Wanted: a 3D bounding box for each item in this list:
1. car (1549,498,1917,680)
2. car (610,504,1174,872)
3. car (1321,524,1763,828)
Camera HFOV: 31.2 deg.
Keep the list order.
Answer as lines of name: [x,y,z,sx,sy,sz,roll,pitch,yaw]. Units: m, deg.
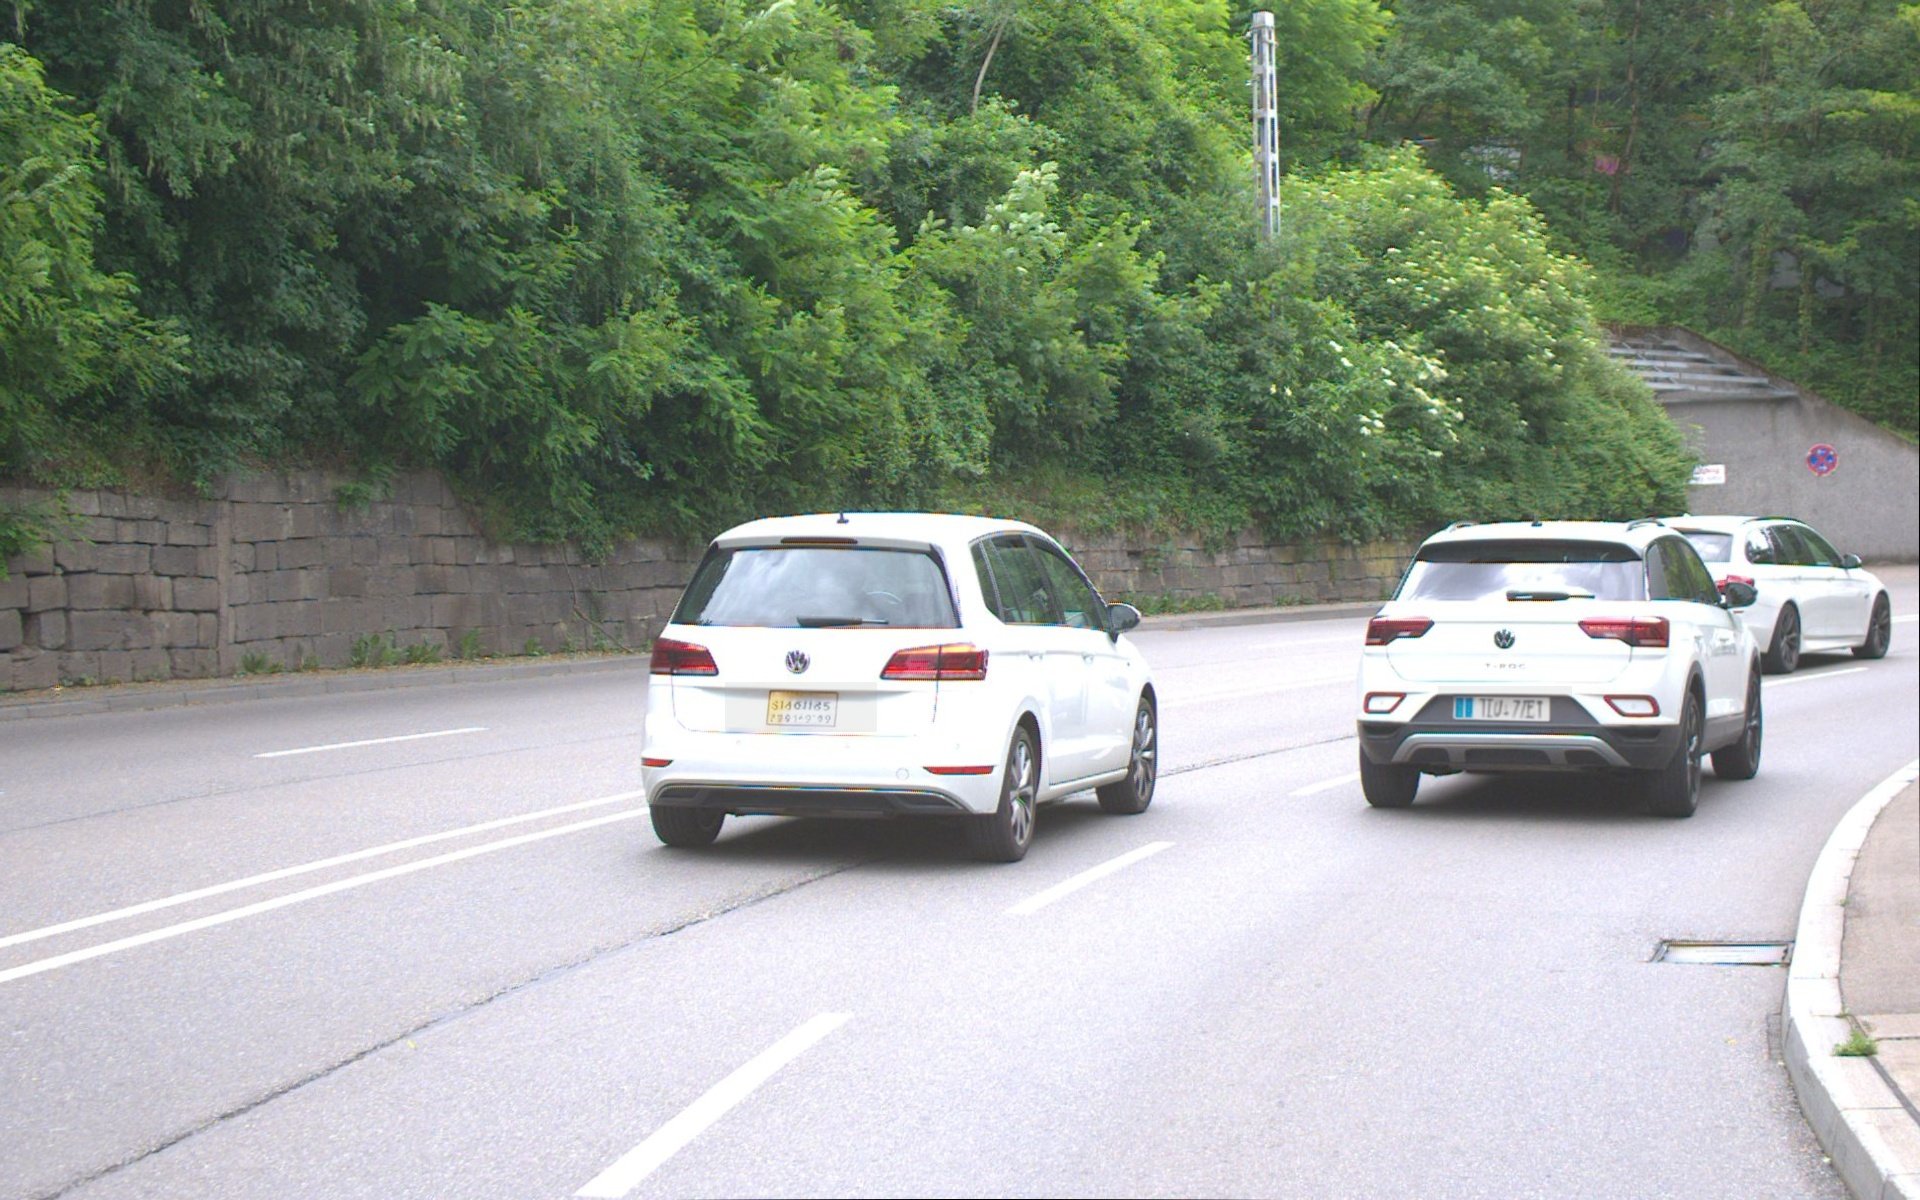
car: [7.594,-0.129,33.446,1.997,1.552,4.672,4,3,32]
car: [-0.183,0.347,16.986,1.721,1.549,4.273,1,1,14]
car: [3.404,0.364,19.502,1.815,1.534,4.005,0,1,19]
